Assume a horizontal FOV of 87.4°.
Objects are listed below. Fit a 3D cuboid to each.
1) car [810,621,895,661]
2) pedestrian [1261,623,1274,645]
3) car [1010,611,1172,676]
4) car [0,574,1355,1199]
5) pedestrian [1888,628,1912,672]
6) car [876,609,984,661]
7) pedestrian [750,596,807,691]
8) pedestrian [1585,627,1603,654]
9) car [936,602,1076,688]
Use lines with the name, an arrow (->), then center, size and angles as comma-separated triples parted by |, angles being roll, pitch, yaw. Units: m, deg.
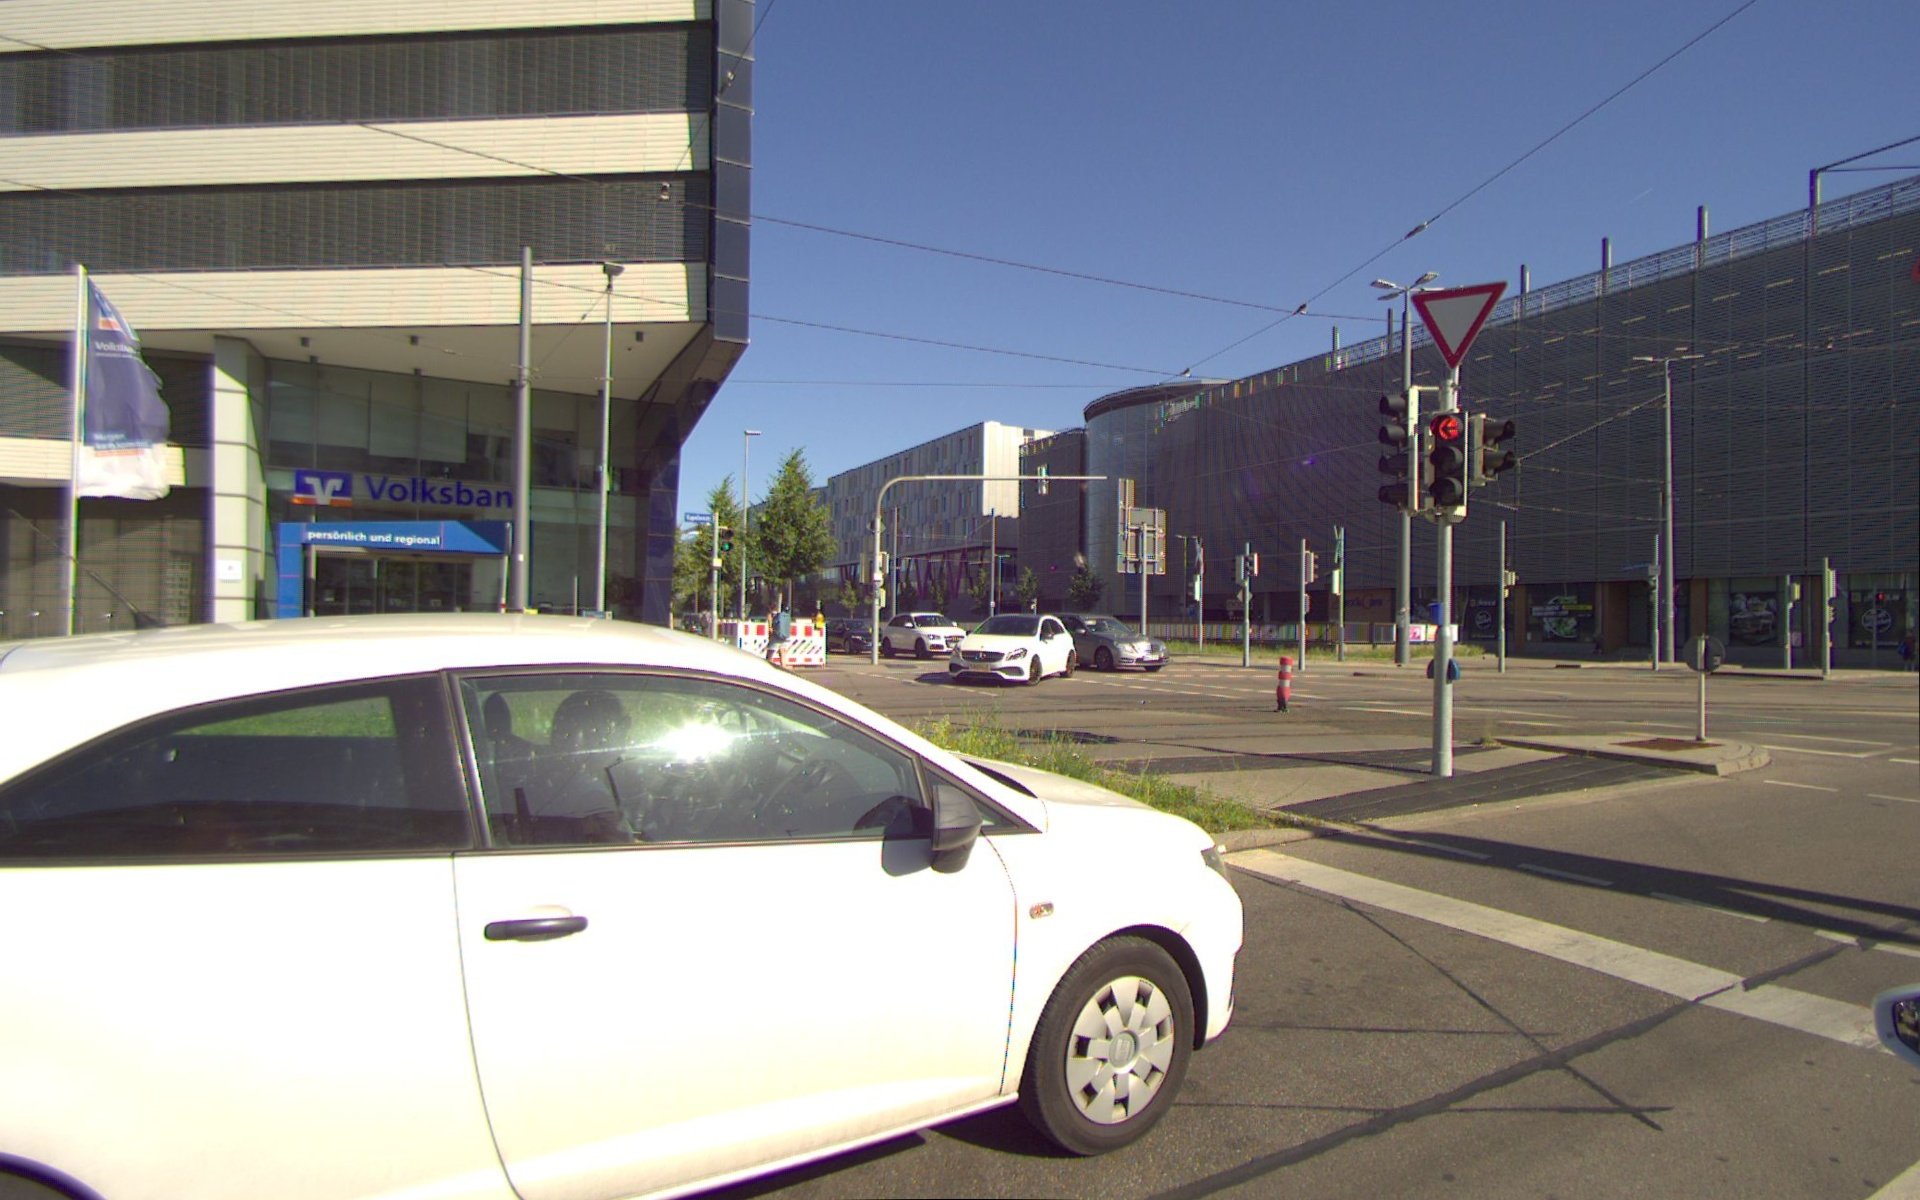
car -> -4.596, 1.675, 42.285 | 1.812, 1.481, 4.645 | 1, 0, -31
pedestrian -> 23.377, 2.578, 76.432 | 0.642, 1.622, 0.658 | 2, 0, -24
car -> 3.408, 1.100, 27.118 | 1.688, 1.593, 4.829 | 1, -1, -32
car -> -0.955, 0.742, 2.793 | 3.977, 1.460, 1.723 | 2, 1, -31
pedestrian -> 39.971, 2.122, 42.731 | 0.687, 1.821, 0.726 | -2, -3, 44
car -> -1.151, 1.210, 35.610 | 1.914, 1.729, 4.647 | 1, -2, -29
pedestrian -> -3.405, 0.796, 18.857 | 0.734, 1.719, 0.798 | 1, 1, -40
pedestrian -> 38.555, 2.442, 61.099 | 0.584, 1.622, 0.661 | 2, 0, -11
car -> 1.112, 0.918, 21.793 | 1.790, 1.668, 4.181 | 0, -1, 21
